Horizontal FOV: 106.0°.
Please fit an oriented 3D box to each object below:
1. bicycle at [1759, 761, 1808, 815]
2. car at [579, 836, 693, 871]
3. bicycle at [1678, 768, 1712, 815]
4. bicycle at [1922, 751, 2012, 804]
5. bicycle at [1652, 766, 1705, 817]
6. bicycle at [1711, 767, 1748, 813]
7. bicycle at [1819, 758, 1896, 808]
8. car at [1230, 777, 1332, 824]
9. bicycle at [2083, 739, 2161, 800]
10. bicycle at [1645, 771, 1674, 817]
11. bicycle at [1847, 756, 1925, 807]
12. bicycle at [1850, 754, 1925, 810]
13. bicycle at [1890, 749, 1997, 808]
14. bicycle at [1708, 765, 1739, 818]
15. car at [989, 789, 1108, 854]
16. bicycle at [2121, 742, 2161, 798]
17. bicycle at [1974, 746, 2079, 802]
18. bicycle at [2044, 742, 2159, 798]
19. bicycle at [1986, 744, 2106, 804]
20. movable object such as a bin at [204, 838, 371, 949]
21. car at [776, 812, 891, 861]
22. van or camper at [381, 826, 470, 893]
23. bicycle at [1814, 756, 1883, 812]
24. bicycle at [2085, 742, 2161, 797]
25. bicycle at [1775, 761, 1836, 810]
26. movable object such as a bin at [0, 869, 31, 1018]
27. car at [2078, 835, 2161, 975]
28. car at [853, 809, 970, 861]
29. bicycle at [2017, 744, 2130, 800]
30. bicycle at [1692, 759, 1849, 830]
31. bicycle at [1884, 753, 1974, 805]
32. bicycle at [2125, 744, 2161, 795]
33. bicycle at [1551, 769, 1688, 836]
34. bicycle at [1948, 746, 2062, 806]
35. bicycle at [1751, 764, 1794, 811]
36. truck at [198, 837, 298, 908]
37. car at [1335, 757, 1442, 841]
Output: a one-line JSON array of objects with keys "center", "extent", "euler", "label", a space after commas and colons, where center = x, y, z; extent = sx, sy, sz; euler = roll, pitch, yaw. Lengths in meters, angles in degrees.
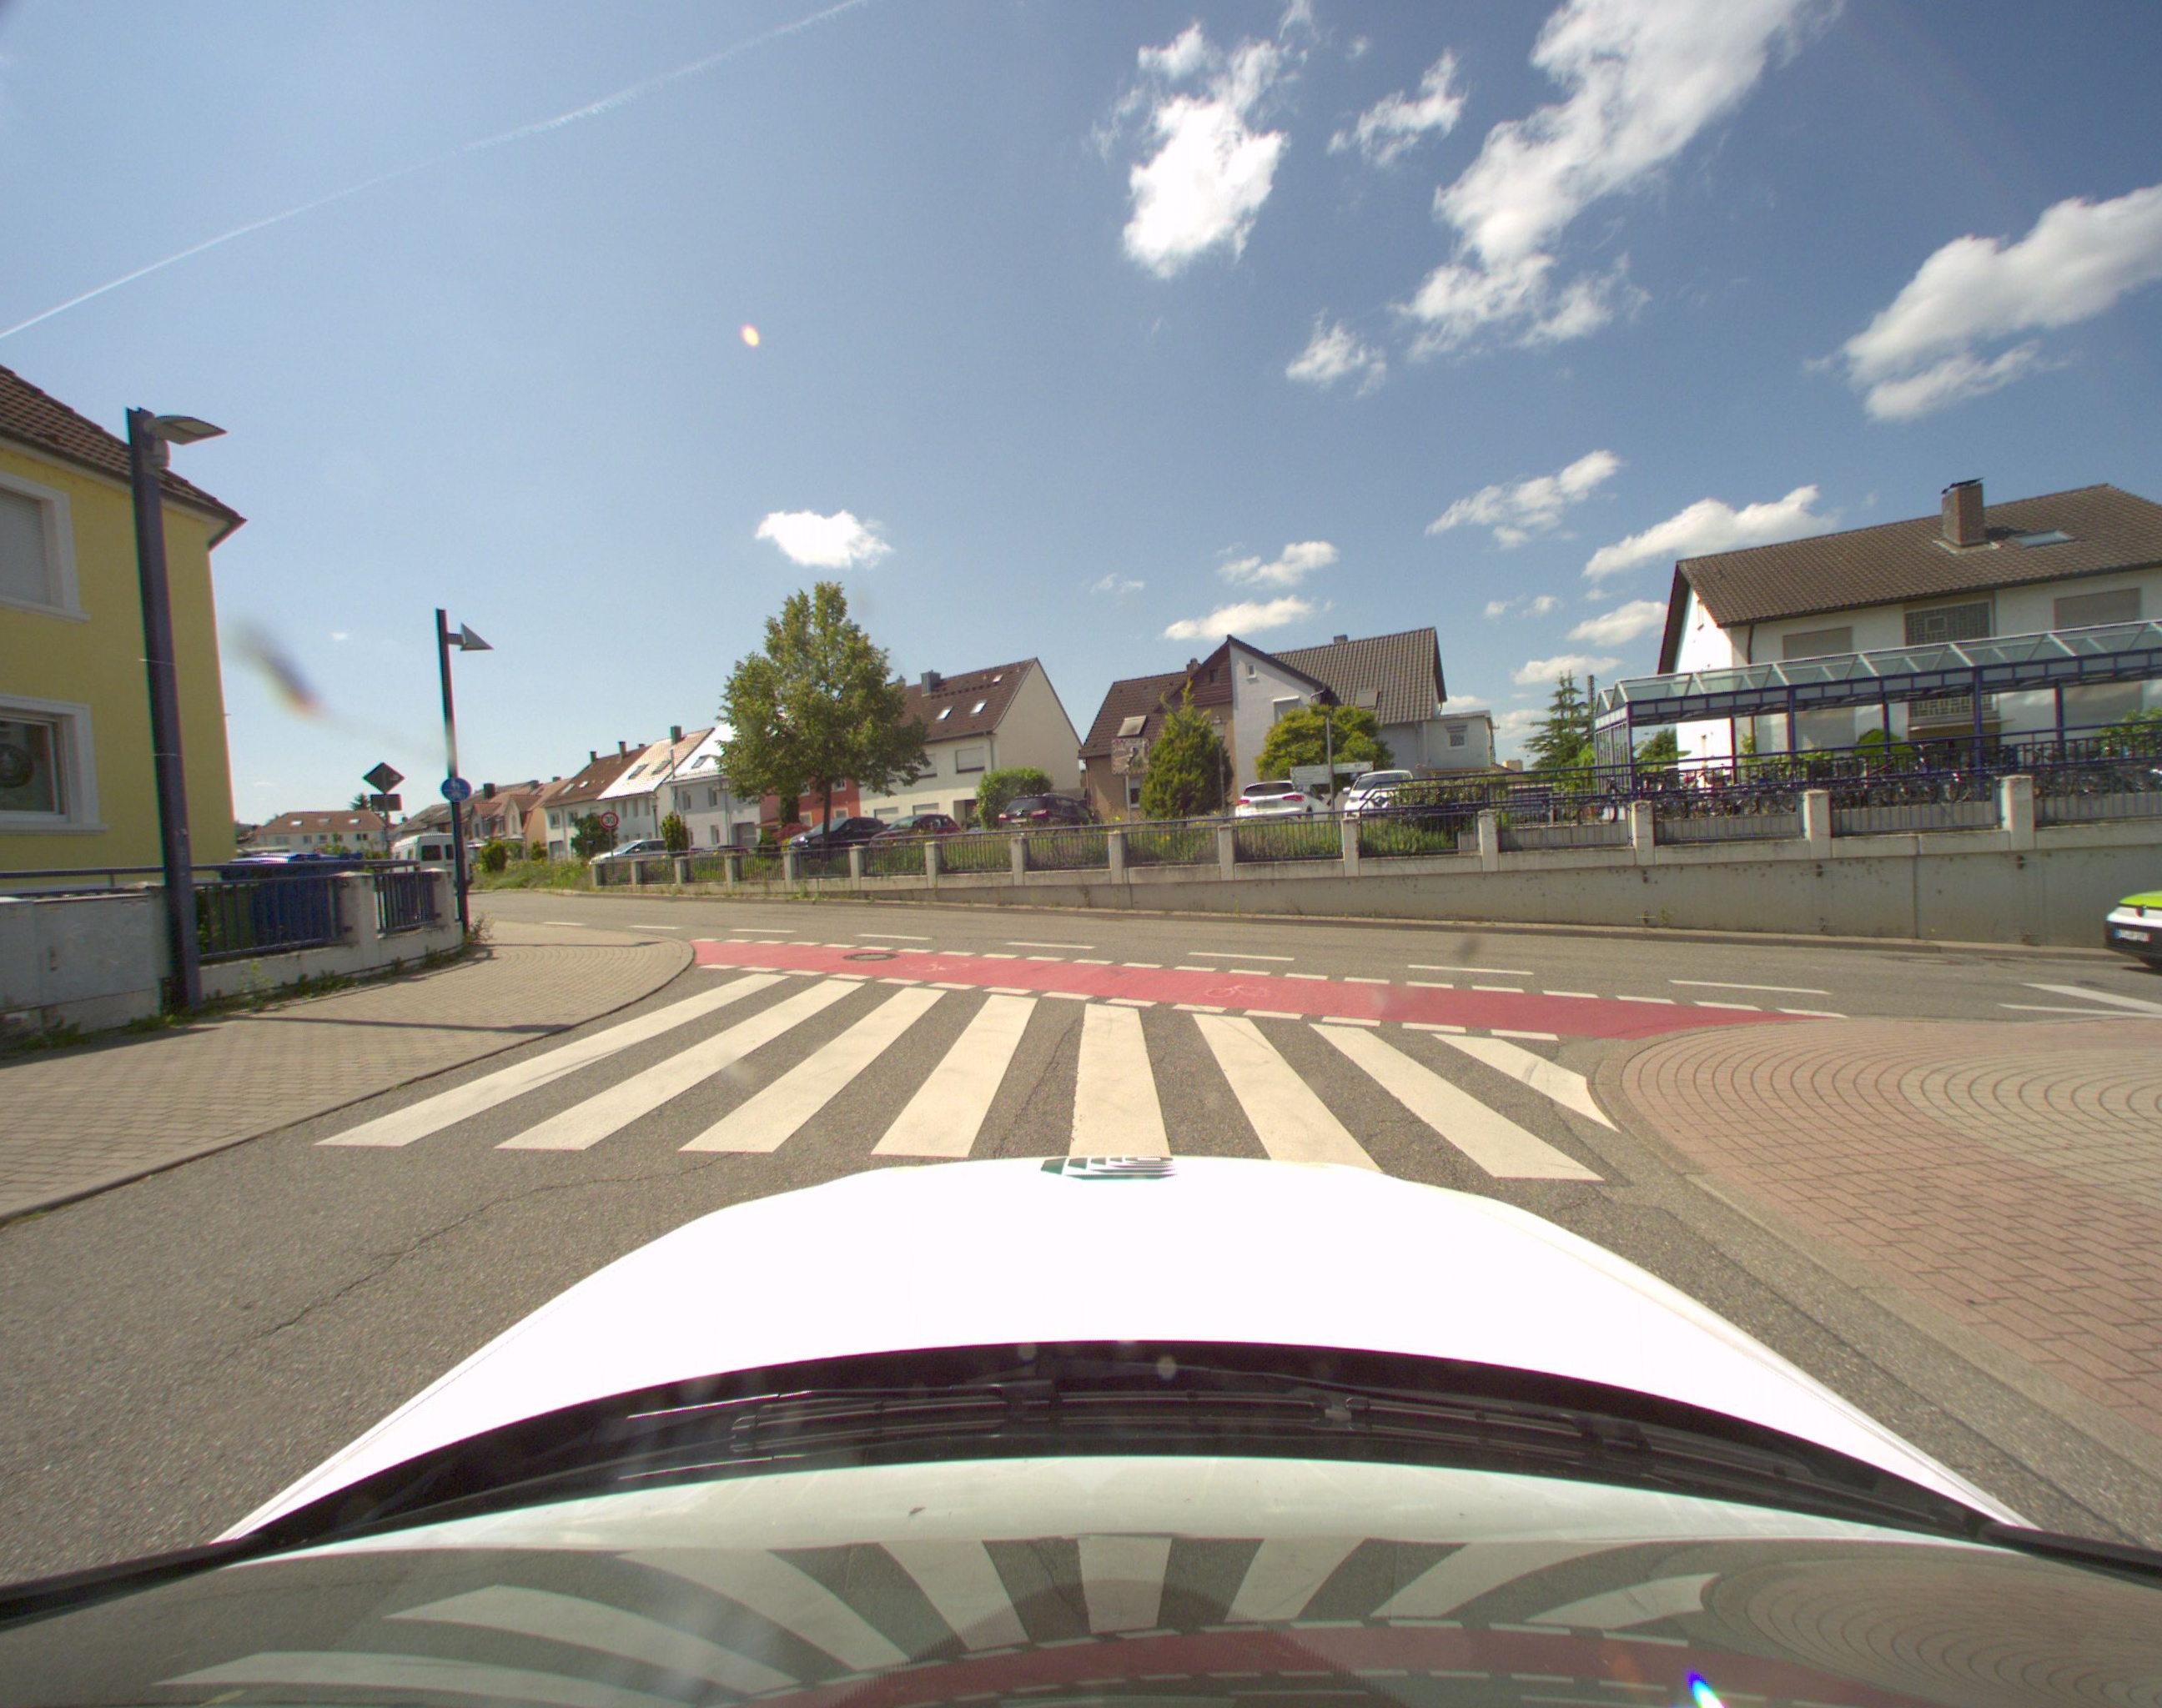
[{"center": [14.045, -1.306, 16.326], "extent": [0.431, 0.994, 2.116], "euler": [-2, 2, 33], "label": "bicycle"}, {"center": [-20.377, -0.069, 37.492], "extent": [1.725, 1.488, 4.284], "euler": [2, 1, 33], "label": "car"}, {"center": [13.993, -1.403, 18.581], "extent": [0.369, 0.994, 1.978], "euler": [-2, 2, 30], "label": "bicycle"}, {"center": [18.587, -1.580, 17.135], "extent": [0.514, 0.994, 1.811], "euler": [-2, 2, 21], "label": "bicycle"}, {"center": [12.589, -1.296, 17.212], "extent": [0.329, 0.994, 2.087], "euler": [-2, 2, 20], "label": "bicycle"}, {"center": [14.842, -1.446, 18.667], "extent": [0.369, 0.994, 1.978], "euler": [-2, 2, 30], "label": "bicycle"}, {"center": [16.811, -1.511, 17.678], "extent": [0.469, 0.994, 1.976], "euler": [-2, 2, 21], "label": "bicycle"}, {"center": [5.241, -1.336, 21.032], "extent": [1.808, 1.019, 3.480], "euler": [2, 1, 26], "label": "car"}, {"center": [18.767, -1.478, 14.489], "extent": [0.573, 0.994, 2.202], "euler": [-2, 2, 35], "label": "bicycle"}, {"center": [13.303, -1.374, 18.710], "extent": [0.451, 0.994, 1.900], "euler": [-1, 2, 37], "label": "bicycle"}, {"center": [17.247, -1.527, 17.493], "extent": [0.410, 0.994, 1.976], "euler": [-2, 2, 21], "label": "bicycle"}, {"center": [15.689, -1.372, 15.893], "extent": [0.431, 0.994, 2.296], "euler": [-2, 2, 29], "label": "bicycle"}, {"center": [16.359, -1.393, 15.523], "extent": [0.528, 0.994, 2.294], "euler": [-2, 2, 23], "label": "bicycle"}, {"center": [13.038, -1.265, 16.551], "extent": [0.431, 0.994, 2.116], "euler": [-2, 2, 37], "label": "bicycle"}, {"center": [-0.871, -0.933, 24.556], "extent": [1.850, 1.797, 4.024], "euler": [1, 1, 26], "label": "car"}, {"center": [19.592, -1.518, 14.523], "extent": [0.510, 0.994, 2.052], "euler": [-2, 2, 29], "label": "bicycle"}, {"center": [19.153, -1.590, 16.546], "extent": [0.514, 0.994, 1.976], "euler": [-2, 2, 21], "label": "bicycle"}, {"center": [20.476, -1.649, 16.392], "extent": [0.514, 0.994, 1.976], "euler": [-2, 2, 21], "label": "bicycle"}, {"center": [18.054, -1.468, 15.308], "extent": [0.528, 0.994, 2.200], "euler": [-2, 2, 23], "label": "bicycle"}, {"center": [-9.540, 0.439, 9.868], "extent": [0.840, 1.213, 1.271], "euler": [-3, 1, -12], "label": "movable object such as a bin"}, {"center": [-8.582, -0.619, 28.494], "extent": [1.850, 1.586, 3.631], "euler": [2, 1, 26], "label": "car"}, {"center": [-27.841, 0.220, 34.530], "extent": [5.325, 2.630, 2.017], "euler": [0, 0, 41], "label": "van or camper"}, {"center": [15.163, -1.354, 16.133], "extent": [0.431, 0.994, 2.296], "euler": [-2, 2, 29], "label": "bicycle"}, {"center": [21.026, -1.668, 16.132], "extent": [0.514, 0.994, 1.976], "euler": [-2, 2, 21], "label": "bicycle"}, {"center": [16.083, -1.489, 18.114], "extent": [0.422, 0.994, 1.977], "euler": [-2, 2, 24], "label": "bicycle"}, {"center": [-9.452, 0.771, 6.508], "extent": [0.881, 1.225, 0.903], "euler": [-2, 1, 2], "label": "movable object such as a bin"}, {"center": [16.625, 0.735, 10.469], "extent": [4.508, 1.854, 1.827], "euler": [2, 2, 19], "label": "car"}, {"center": [-5.422, -0.615, 26.522], "extent": [1.850, 1.586, 3.631], "euler": [2, 1, 26], "label": "car"}, {"center": [19.860, -1.618, 16.352], "extent": [0.514, 0.994, 1.976], "euler": [-2, 2, 21], "label": "bicycle"}, {"center": [12.173, -1.030, 14.444], "extent": [2.097, 1.125, 0.394], "euler": [-2, 2, 20], "label": "bicycle"}, {"center": [17.919, -1.552, 17.261], "extent": [0.514, 0.994, 1.976], "euler": [-2, 2, 21], "label": "bicycle"}, {"center": [21.559, -1.686, 15.892], "extent": [0.514, 0.994, 1.976], "euler": [-2, 2, 21], "label": "bicycle"}, {"center": [10.024, -0.951, 15.226], "extent": [2.097, 1.125, 0.335], "euler": [-2, 2, 20], "label": "bicycle"}, {"center": [17.332, -1.435, 15.348], "extent": [0.528, 0.994, 2.200], "euler": [-2, 2, 23], "label": "bicycle"}, {"center": [15.436, -1.461, 18.211], "extent": [0.369, 0.994, 1.978], "euler": [-2, 2, 30], "label": "bicycle"}, {"center": [-38.963, 0.718, 38.014], "extent": [7.969, 2.876, 2.635], "euler": [1, 4, 41], "label": "truck"}, {"center": [7.605, -1.247, 19.887], "extent": [1.975, 1.797, 4.222], "euler": [1, 1, 26], "label": "car"}]
